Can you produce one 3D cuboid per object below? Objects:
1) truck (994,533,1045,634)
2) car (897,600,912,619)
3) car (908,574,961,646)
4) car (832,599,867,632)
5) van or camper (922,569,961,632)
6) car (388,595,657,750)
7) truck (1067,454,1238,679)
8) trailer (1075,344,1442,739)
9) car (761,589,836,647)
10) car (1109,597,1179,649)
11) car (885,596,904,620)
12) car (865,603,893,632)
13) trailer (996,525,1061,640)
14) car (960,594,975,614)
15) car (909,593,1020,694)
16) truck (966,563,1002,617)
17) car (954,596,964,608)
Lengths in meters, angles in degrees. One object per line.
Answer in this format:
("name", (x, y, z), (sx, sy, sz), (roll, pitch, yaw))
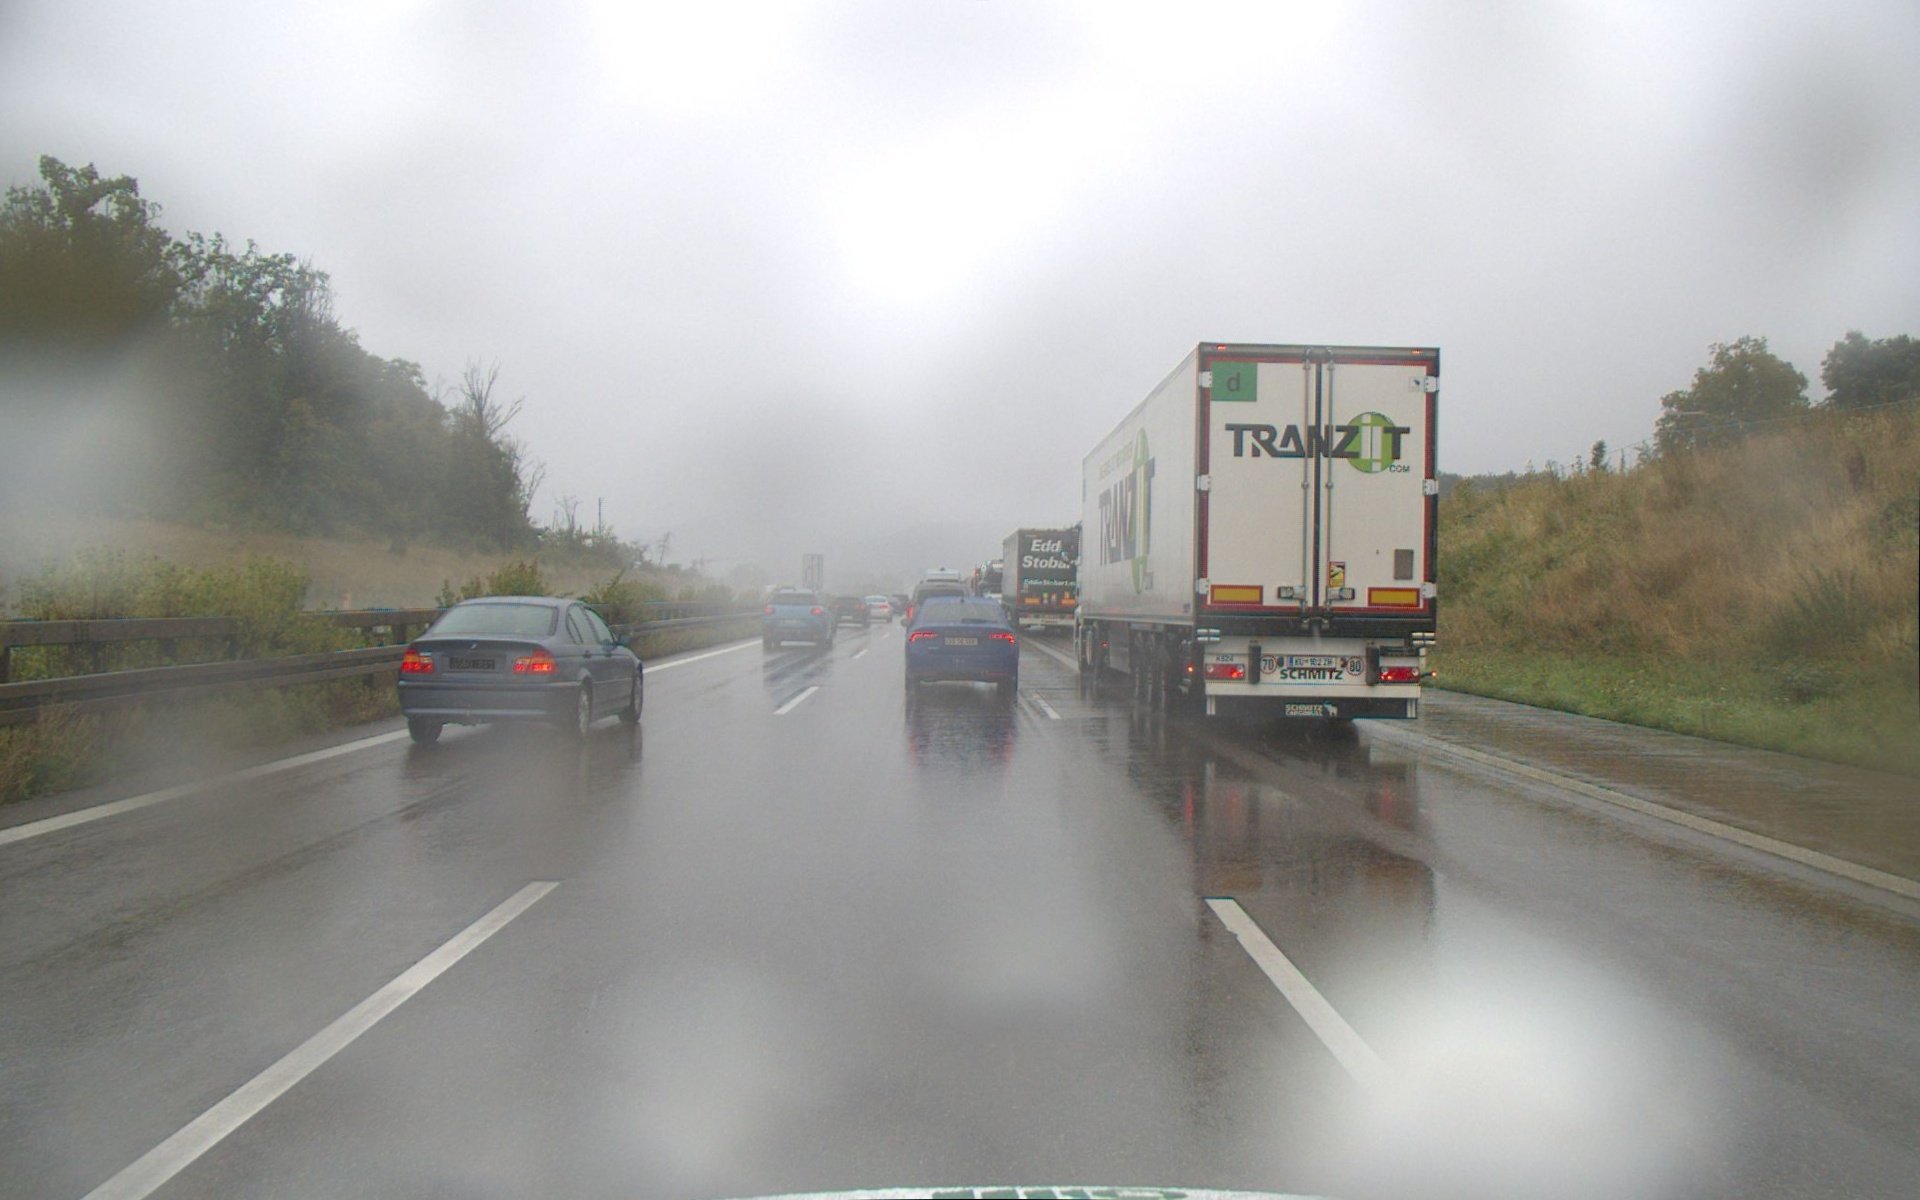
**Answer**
("truck", (2.590, -0.711, 72.434), (2.005, 4.266, 3.999), (0, 0, -1))
("car", (-5.434, 0.934, 161.982), (1.419, 1.815, 3.408), (1, 0, -1))
("car", (-0.662, 0.239, 43.352), (1.309, 1.811, 3.321), (0, 0, -1))
("car", (-5.008, 0.695, 75.432), (1.410, 1.445, 3.321), (0, 0, -1))
("van or camper", (-0.873, 0.018, 77.533), (1.761, 2.855, 4.767), (0, 0, -1))
("car", (-4.435, 0.669, 17.413), (1.683, 1.424, 4.230), (0, 0, 0))
("truck", (3.515, -0.592, 31.212), (2.577, 3.894, 4.790), (0, 0, -1))
("trailer", (3.608, -0.645, 24.494), (2.577, 4.083, 14.626), (0, 0, -1))
("car", (-4.484, 0.487, 46.272), (1.686, 1.550, 4.000), (0, 0, 0))
("car", (4.789, 0.577, 43.429), (1.395, 1.310, 3.460), (0, 0, -1))
("car", (-5.131, 0.642, 130.173), (1.419, 1.815, 3.408), (1, 0, -1))
("car", (-4.476, 0.947, 91.823), (1.410, 1.560, 3.321), (0, 0, -1))
("trailer", (2.661, -0.684, 67.019), (2.005, 4.250, 11.446), (0, 0, -1))
("car", (0.698, 0.391, 161.055), (1.419, 1.815, 3.408), (1, 0, -1))
("car", (0.061, 0.633, 26.083), (1.602, 1.470, 4.000), (0, 0, 0))
("truck", (1.548, -0.680, 110.584), (1.953, 3.481, 8.029), (0, 1, -2))
("car", (-0.136, 0.271, 248.982), (1.419, 1.815, 3.408), (1, 0, -1))
